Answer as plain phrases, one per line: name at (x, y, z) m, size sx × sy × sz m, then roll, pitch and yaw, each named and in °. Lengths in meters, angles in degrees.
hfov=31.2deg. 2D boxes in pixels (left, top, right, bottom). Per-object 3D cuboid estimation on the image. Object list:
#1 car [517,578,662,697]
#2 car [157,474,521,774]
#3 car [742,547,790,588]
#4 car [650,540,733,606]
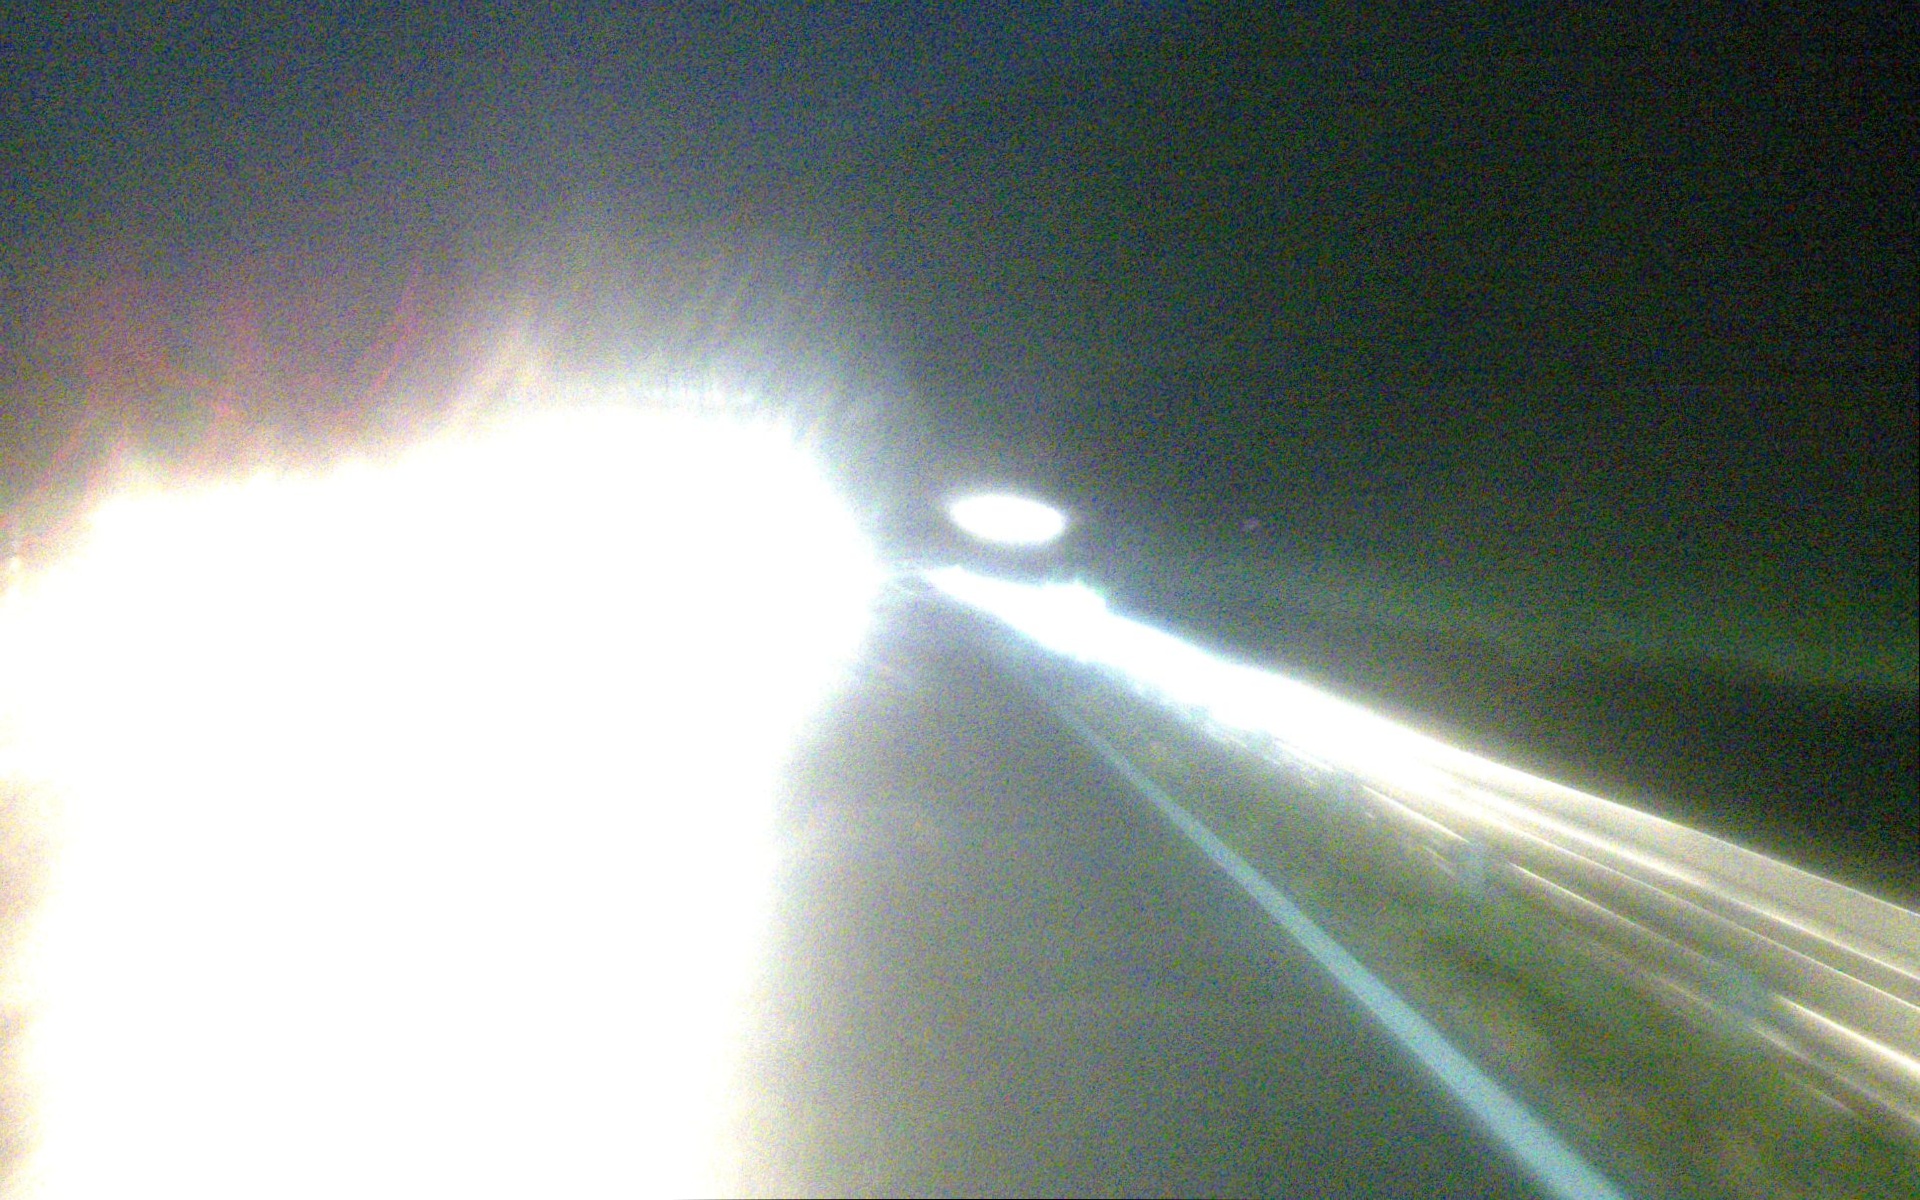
car at (-4.862, 0.467, 45.425) m, size 1.665 × 1.451 × 3.427 m, roll 1°, pitch 1°, yaw -2°
car at (-4.181, 0.109, 23.785) m, size 1.832 × 1.864 × 4.429 m, roll 1°, pitch 1°, yaw -2°
car at (-7.767, -1.314, 137.824) m, size 1.868 × 1.607 × 3.847 m, roll 1°, pitch 1°, yaw -2°
car at (-5.756, -0.597, 73.947) m, size 1.641 × 1.355 × 3.681 m, roll 1°, pitch 1°, yaw -2°
